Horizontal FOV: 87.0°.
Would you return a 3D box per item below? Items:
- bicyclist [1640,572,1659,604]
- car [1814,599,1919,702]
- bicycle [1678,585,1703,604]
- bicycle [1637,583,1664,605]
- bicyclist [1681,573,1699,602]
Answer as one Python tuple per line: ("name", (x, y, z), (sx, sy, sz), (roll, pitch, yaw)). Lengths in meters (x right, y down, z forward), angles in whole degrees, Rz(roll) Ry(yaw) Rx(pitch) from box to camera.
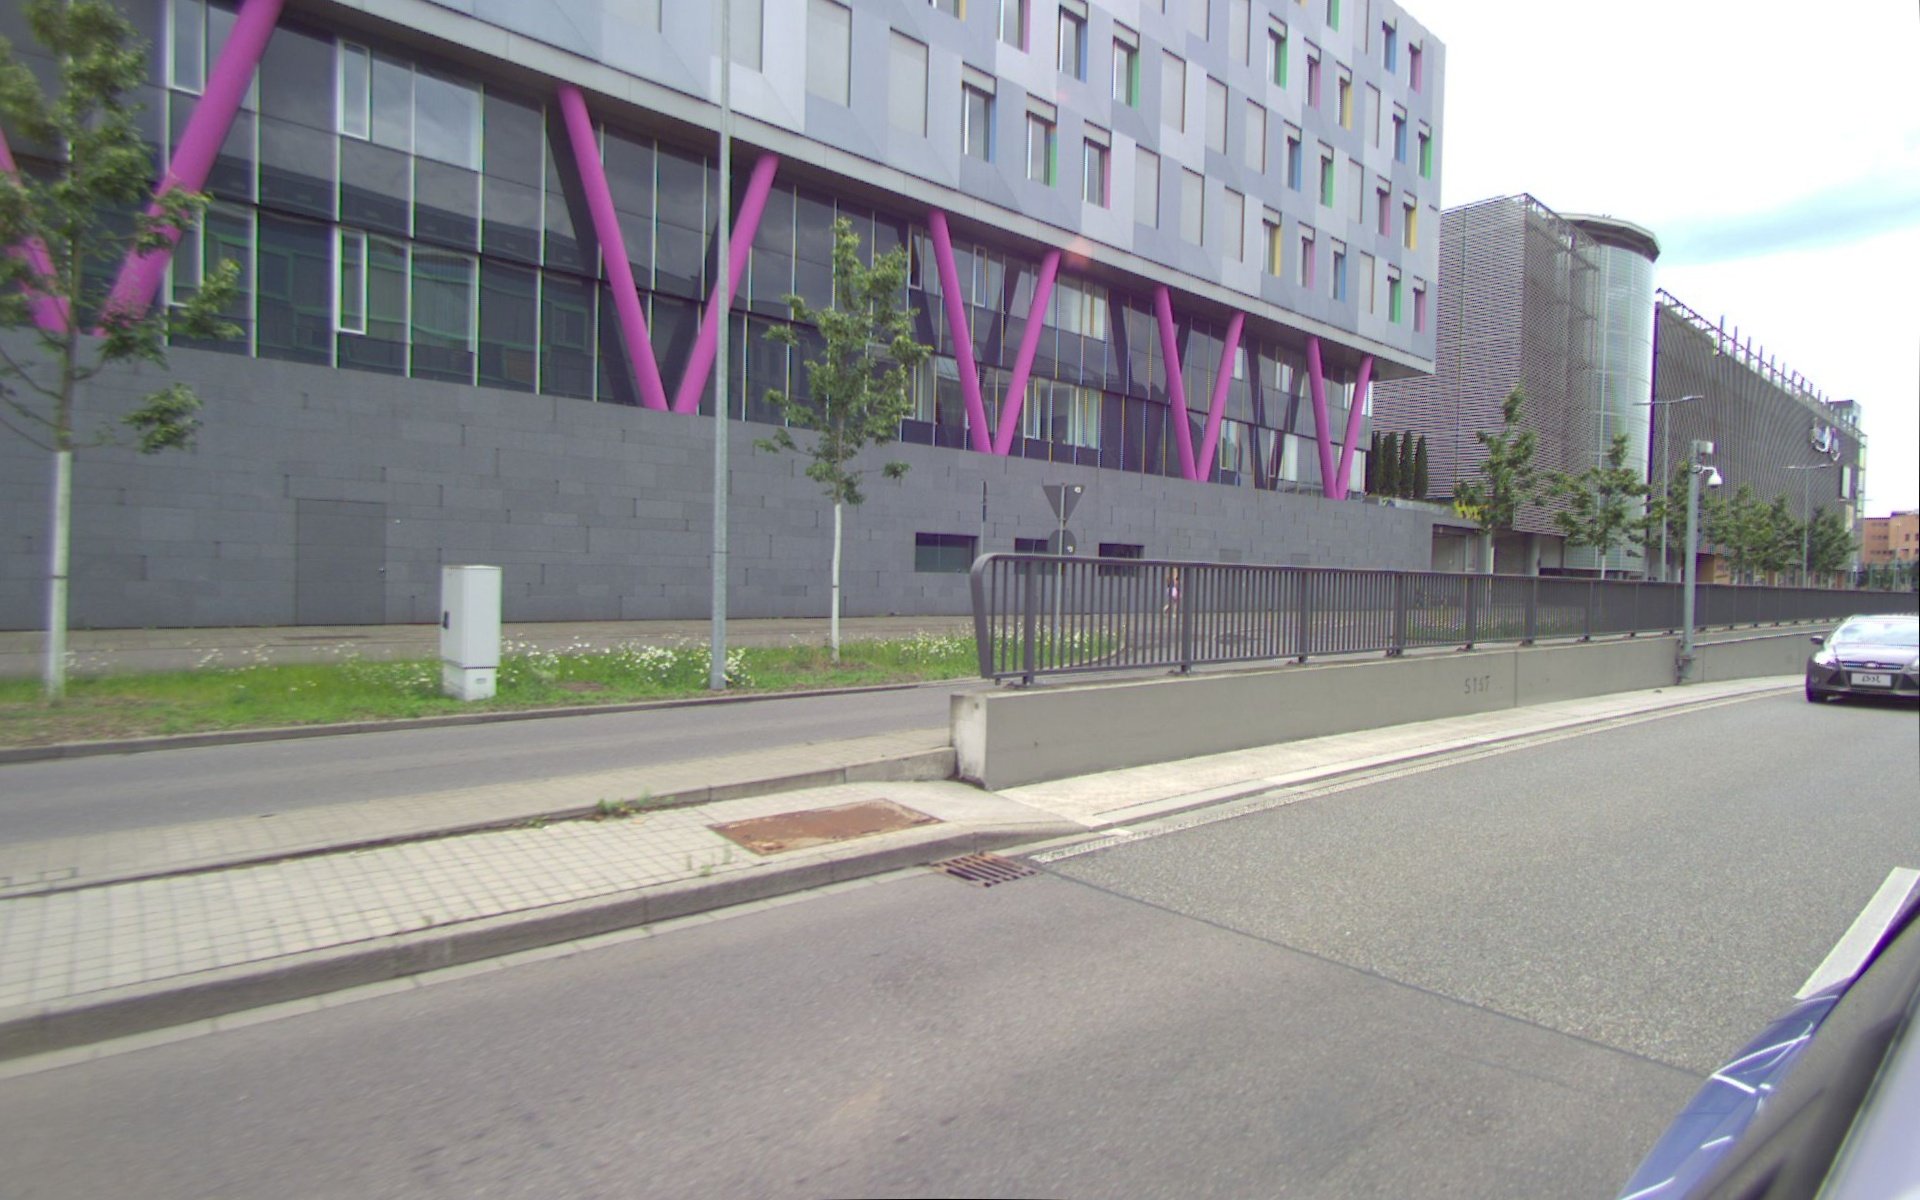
("bicyclist", (40.991, -0.699, 60.180), (0.692, 1.826, 0.783), (5, -3, -41))
("car", (15.816, 0.853, 16.880), (4.192, 1.518, 1.751), (3, -1, -41))
("bicycle", (46.556, -0.369, 64.489), (2.304, 1.173, 0.800), (1, 0, -42))
("bicycle", (41.179, -0.338, 60.355), (2.303, 1.173, 0.800), (5, -3, -42))
("bicyclist", (46.515, -0.806, 64.458), (0.692, 1.825, 0.783), (1, 0, -41))
